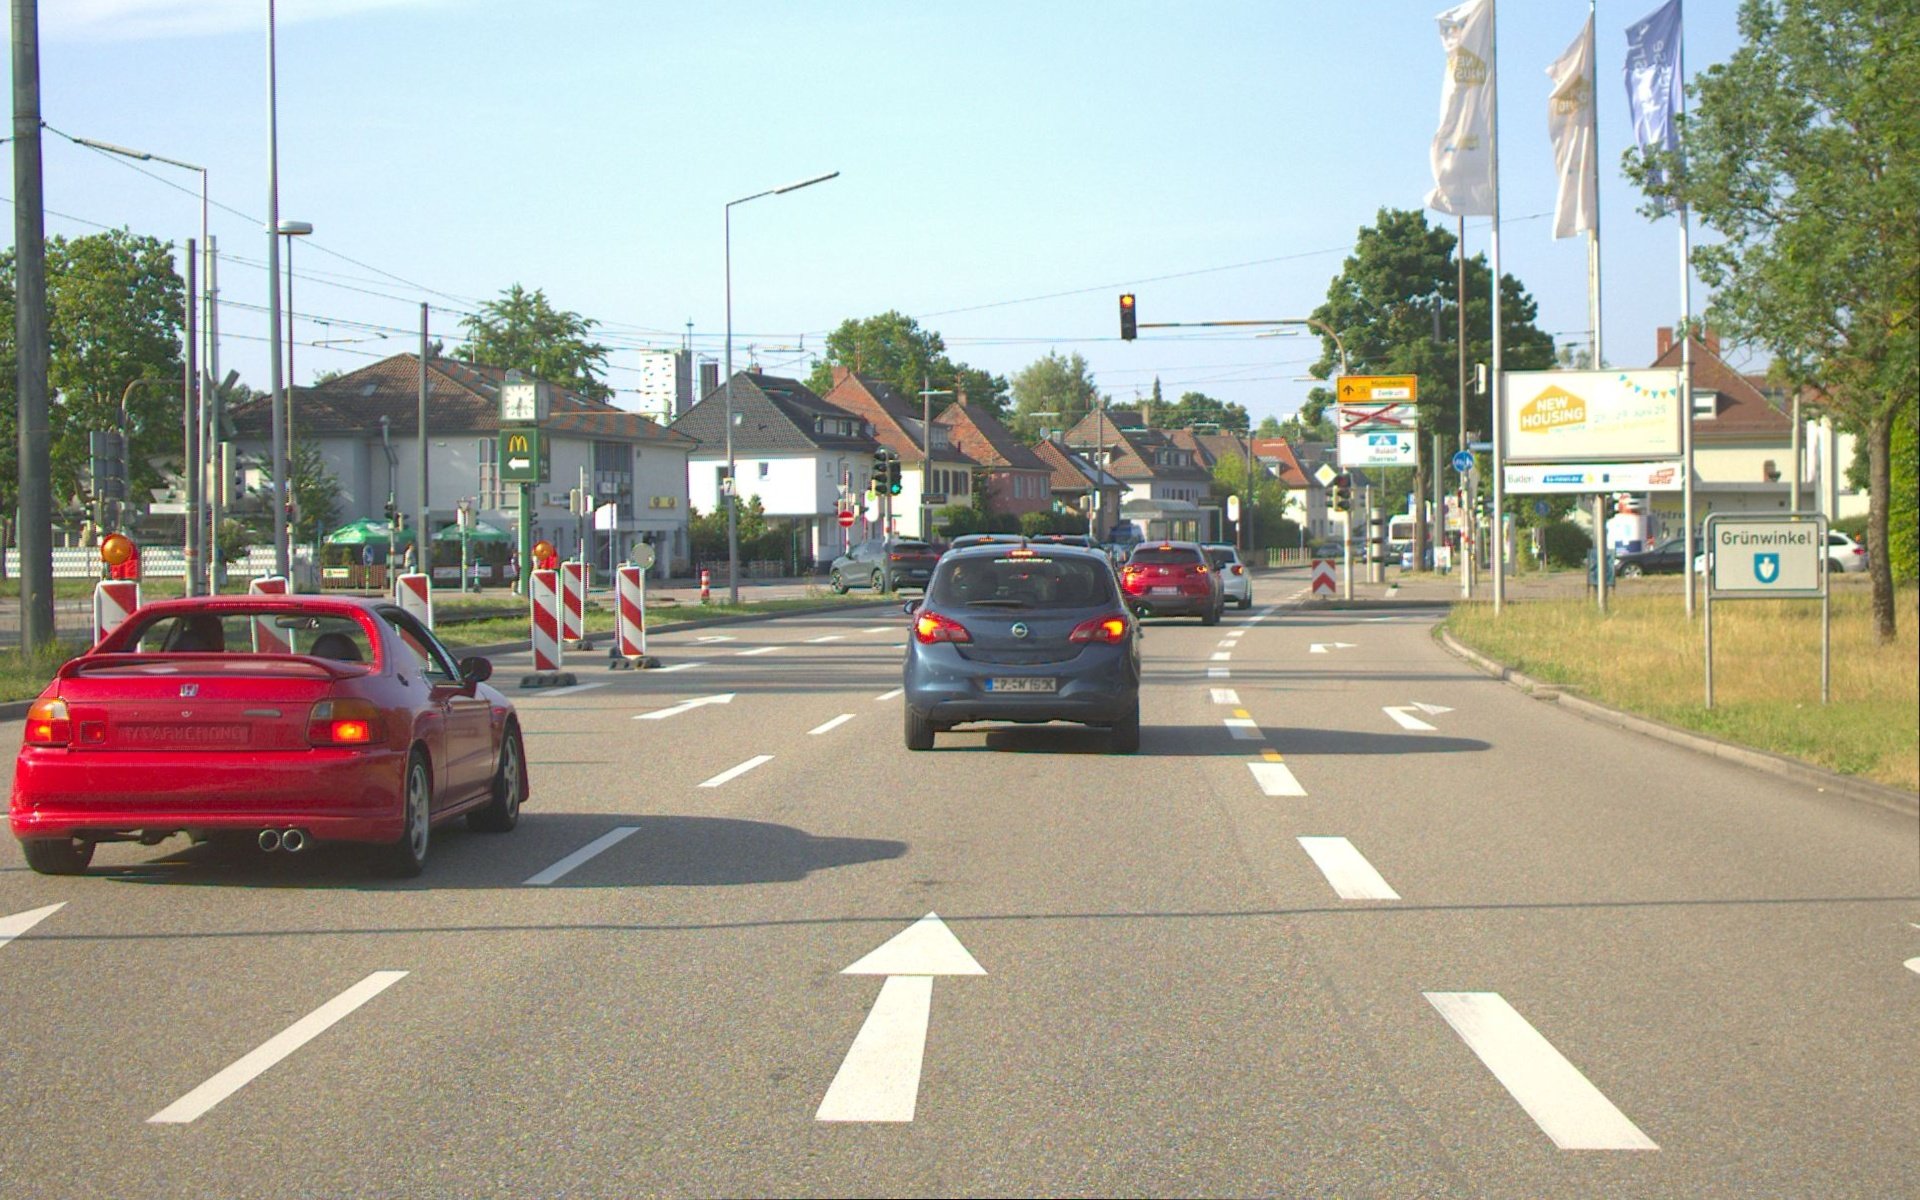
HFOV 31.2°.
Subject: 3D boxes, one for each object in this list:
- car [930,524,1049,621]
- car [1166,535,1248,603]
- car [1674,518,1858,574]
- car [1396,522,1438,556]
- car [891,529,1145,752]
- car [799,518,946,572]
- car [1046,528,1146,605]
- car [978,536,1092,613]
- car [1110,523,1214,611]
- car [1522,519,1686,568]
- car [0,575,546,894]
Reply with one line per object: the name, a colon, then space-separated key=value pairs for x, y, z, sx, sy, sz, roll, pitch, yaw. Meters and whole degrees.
car: x=0.561 y=-0.525 z=61.721 sx=1.764 sy=1.665 sz=4.083 roll=0 pitch=1 yaw=6
car: x=5.521 y=-0.710 z=76.531 sx=1.656 sy=1.438 sz=4.013 roll=-1 pitch=1 yaw=6
car: x=23.400 y=-1.578 z=99.938 sx=5.097 sy=1.557 sz=1.839 roll=-1 pitch=1 yaw=10
car: x=19.842 y=-2.643 z=149.236 sx=1.675 sy=1.393 sz=3.998 roll=1 pitch=1 yaw=9
car: x=0.395 y=0.236 z=25.909 sx=1.741 sy=1.500 sz=4.223 roll=-1 pitch=1 yaw=0
car: x=-2.516 y=-1.570 z=97.833 sx=1.995 sy=1.481 sz=3.998 roll=-2 pitch=2 yaw=-44
car: x=3.090 y=-0.775 z=77.379 sx=1.507 sy=1.645 sz=4.742 roll=0 pitch=1 yaw=11
car: x=1.567 y=-0.547 z=69.914 sx=1.700 sy=1.503 sz=4.552 roll=0 pitch=1 yaw=9
car: x=3.744 y=-0.631 z=63.340 sx=1.707 sy=1.546 sz=3.977 roll=-1 pitch=1 yaw=6
car: x=19.510 y=-1.701 z=104.267 sx=4.825 sy=1.406 sz=1.715 roll=-1 pitch=1 yaw=10
car: x=-3.108 y=0.536 z=16.015 sx=1.731 sy=1.202 sz=3.847 roll=1 pitch=1 yaw=2
